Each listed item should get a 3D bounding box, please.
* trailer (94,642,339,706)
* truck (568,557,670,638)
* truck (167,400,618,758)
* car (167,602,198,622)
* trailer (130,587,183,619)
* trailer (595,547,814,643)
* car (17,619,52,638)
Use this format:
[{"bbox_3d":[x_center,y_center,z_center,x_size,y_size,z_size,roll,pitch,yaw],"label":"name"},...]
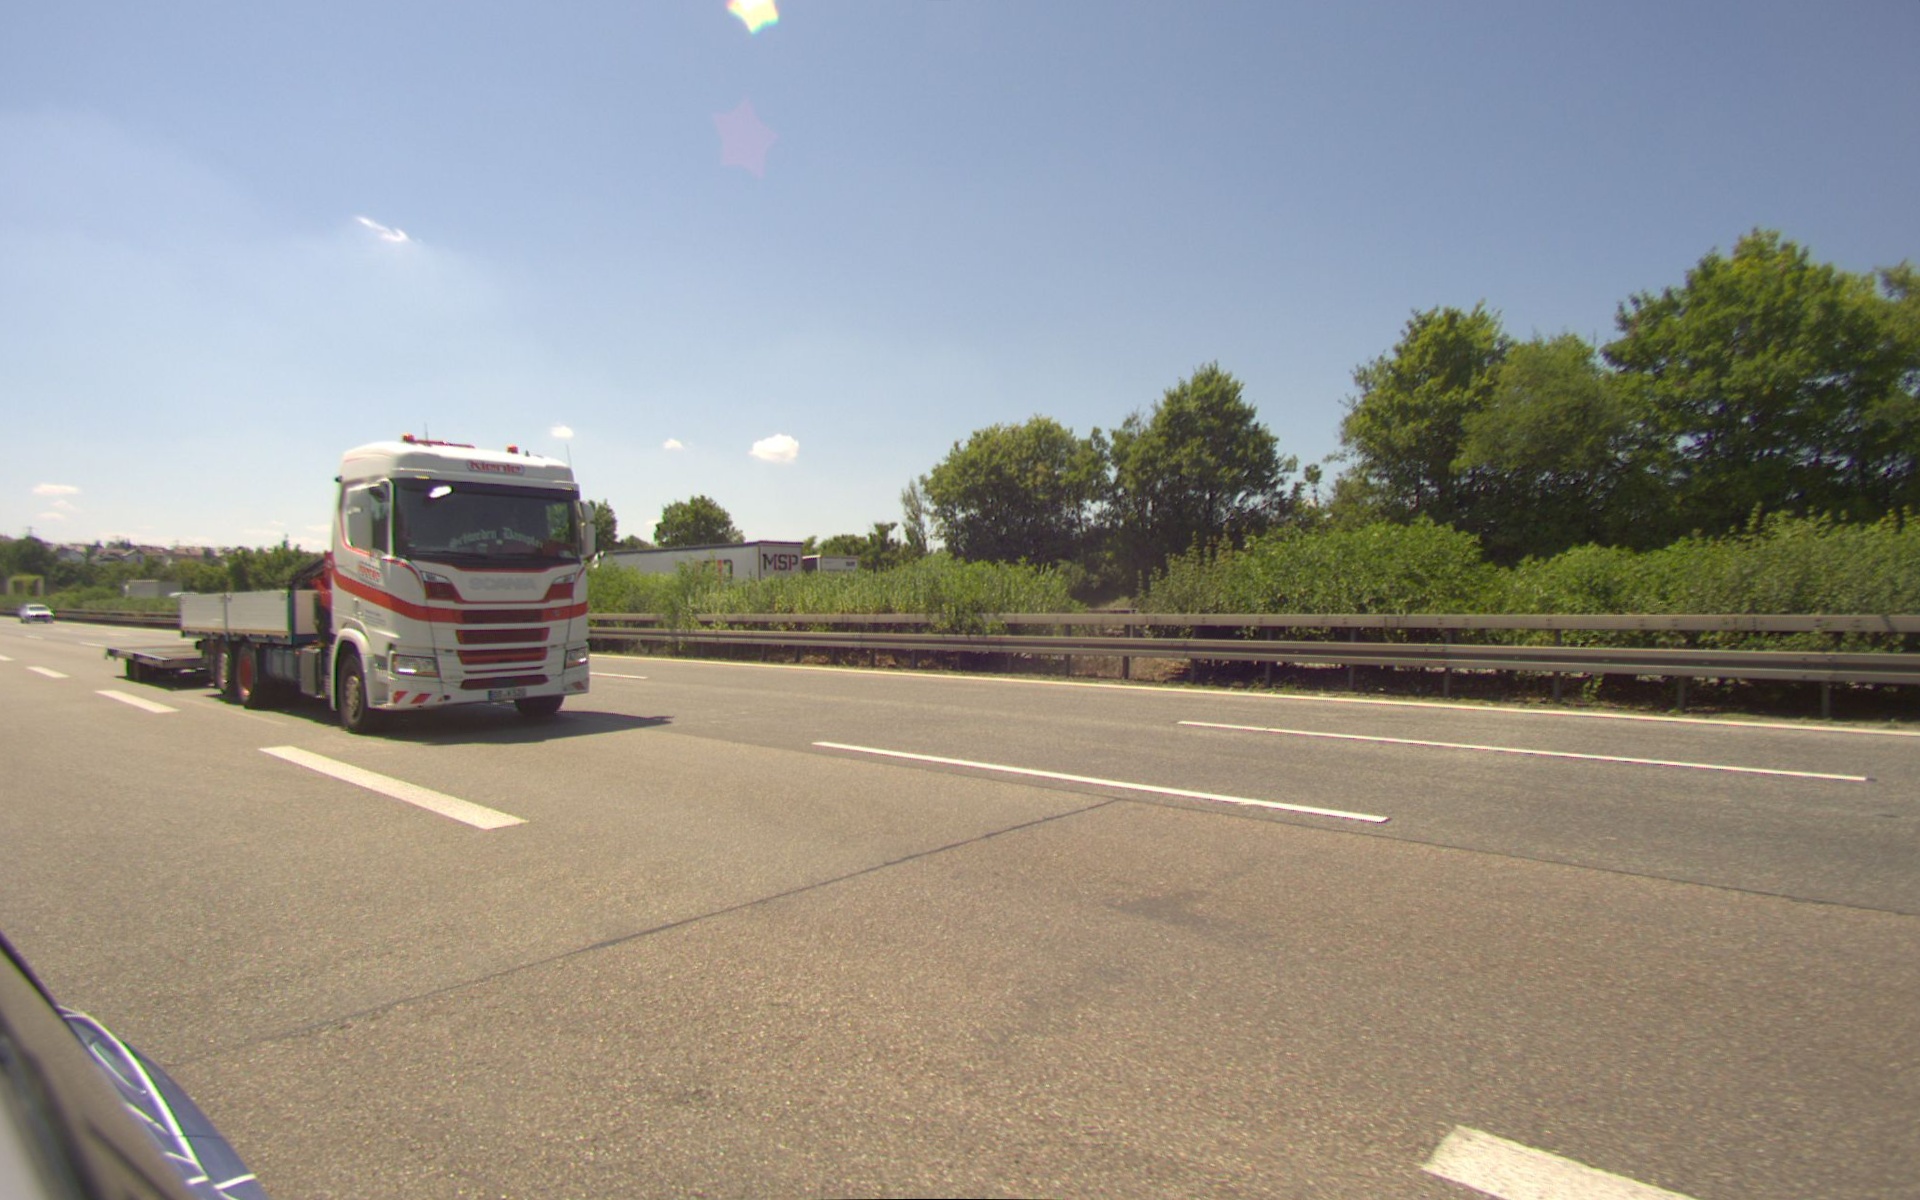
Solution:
[{"bbox_3d":[-15.993,1.461,21.507,7.757,0.941,2.686,-1,0,42],"label":"trailer"},{"bbox_3d":[-18.412,-0.119,54.621,4.828,4.121,3.297,-1,0,43],"label":"truck"},{"bbox_3d":[-9.213,-0.151,15.396,10.669,3.831,2.686,-1,-1,42],"label":"truck"},{"bbox_3d":[-84.108,1.261,109.456,3.998,2.029,1.973,2,1,41],"label":"car"},{"bbox_3d":[-103.907,0.431,130.826,13.706,3.977,2.513,-1,0,39],"label":"trailer"},{"bbox_3d":[-12.874,-0.146,49.527,13.926,4.121,3.355,-1,0,43],"label":"trailer"},{"bbox_3d":[-79.593,2.418,86.986,3.999,1.564,1.858,-2,-1,42],"label":"car"}]
